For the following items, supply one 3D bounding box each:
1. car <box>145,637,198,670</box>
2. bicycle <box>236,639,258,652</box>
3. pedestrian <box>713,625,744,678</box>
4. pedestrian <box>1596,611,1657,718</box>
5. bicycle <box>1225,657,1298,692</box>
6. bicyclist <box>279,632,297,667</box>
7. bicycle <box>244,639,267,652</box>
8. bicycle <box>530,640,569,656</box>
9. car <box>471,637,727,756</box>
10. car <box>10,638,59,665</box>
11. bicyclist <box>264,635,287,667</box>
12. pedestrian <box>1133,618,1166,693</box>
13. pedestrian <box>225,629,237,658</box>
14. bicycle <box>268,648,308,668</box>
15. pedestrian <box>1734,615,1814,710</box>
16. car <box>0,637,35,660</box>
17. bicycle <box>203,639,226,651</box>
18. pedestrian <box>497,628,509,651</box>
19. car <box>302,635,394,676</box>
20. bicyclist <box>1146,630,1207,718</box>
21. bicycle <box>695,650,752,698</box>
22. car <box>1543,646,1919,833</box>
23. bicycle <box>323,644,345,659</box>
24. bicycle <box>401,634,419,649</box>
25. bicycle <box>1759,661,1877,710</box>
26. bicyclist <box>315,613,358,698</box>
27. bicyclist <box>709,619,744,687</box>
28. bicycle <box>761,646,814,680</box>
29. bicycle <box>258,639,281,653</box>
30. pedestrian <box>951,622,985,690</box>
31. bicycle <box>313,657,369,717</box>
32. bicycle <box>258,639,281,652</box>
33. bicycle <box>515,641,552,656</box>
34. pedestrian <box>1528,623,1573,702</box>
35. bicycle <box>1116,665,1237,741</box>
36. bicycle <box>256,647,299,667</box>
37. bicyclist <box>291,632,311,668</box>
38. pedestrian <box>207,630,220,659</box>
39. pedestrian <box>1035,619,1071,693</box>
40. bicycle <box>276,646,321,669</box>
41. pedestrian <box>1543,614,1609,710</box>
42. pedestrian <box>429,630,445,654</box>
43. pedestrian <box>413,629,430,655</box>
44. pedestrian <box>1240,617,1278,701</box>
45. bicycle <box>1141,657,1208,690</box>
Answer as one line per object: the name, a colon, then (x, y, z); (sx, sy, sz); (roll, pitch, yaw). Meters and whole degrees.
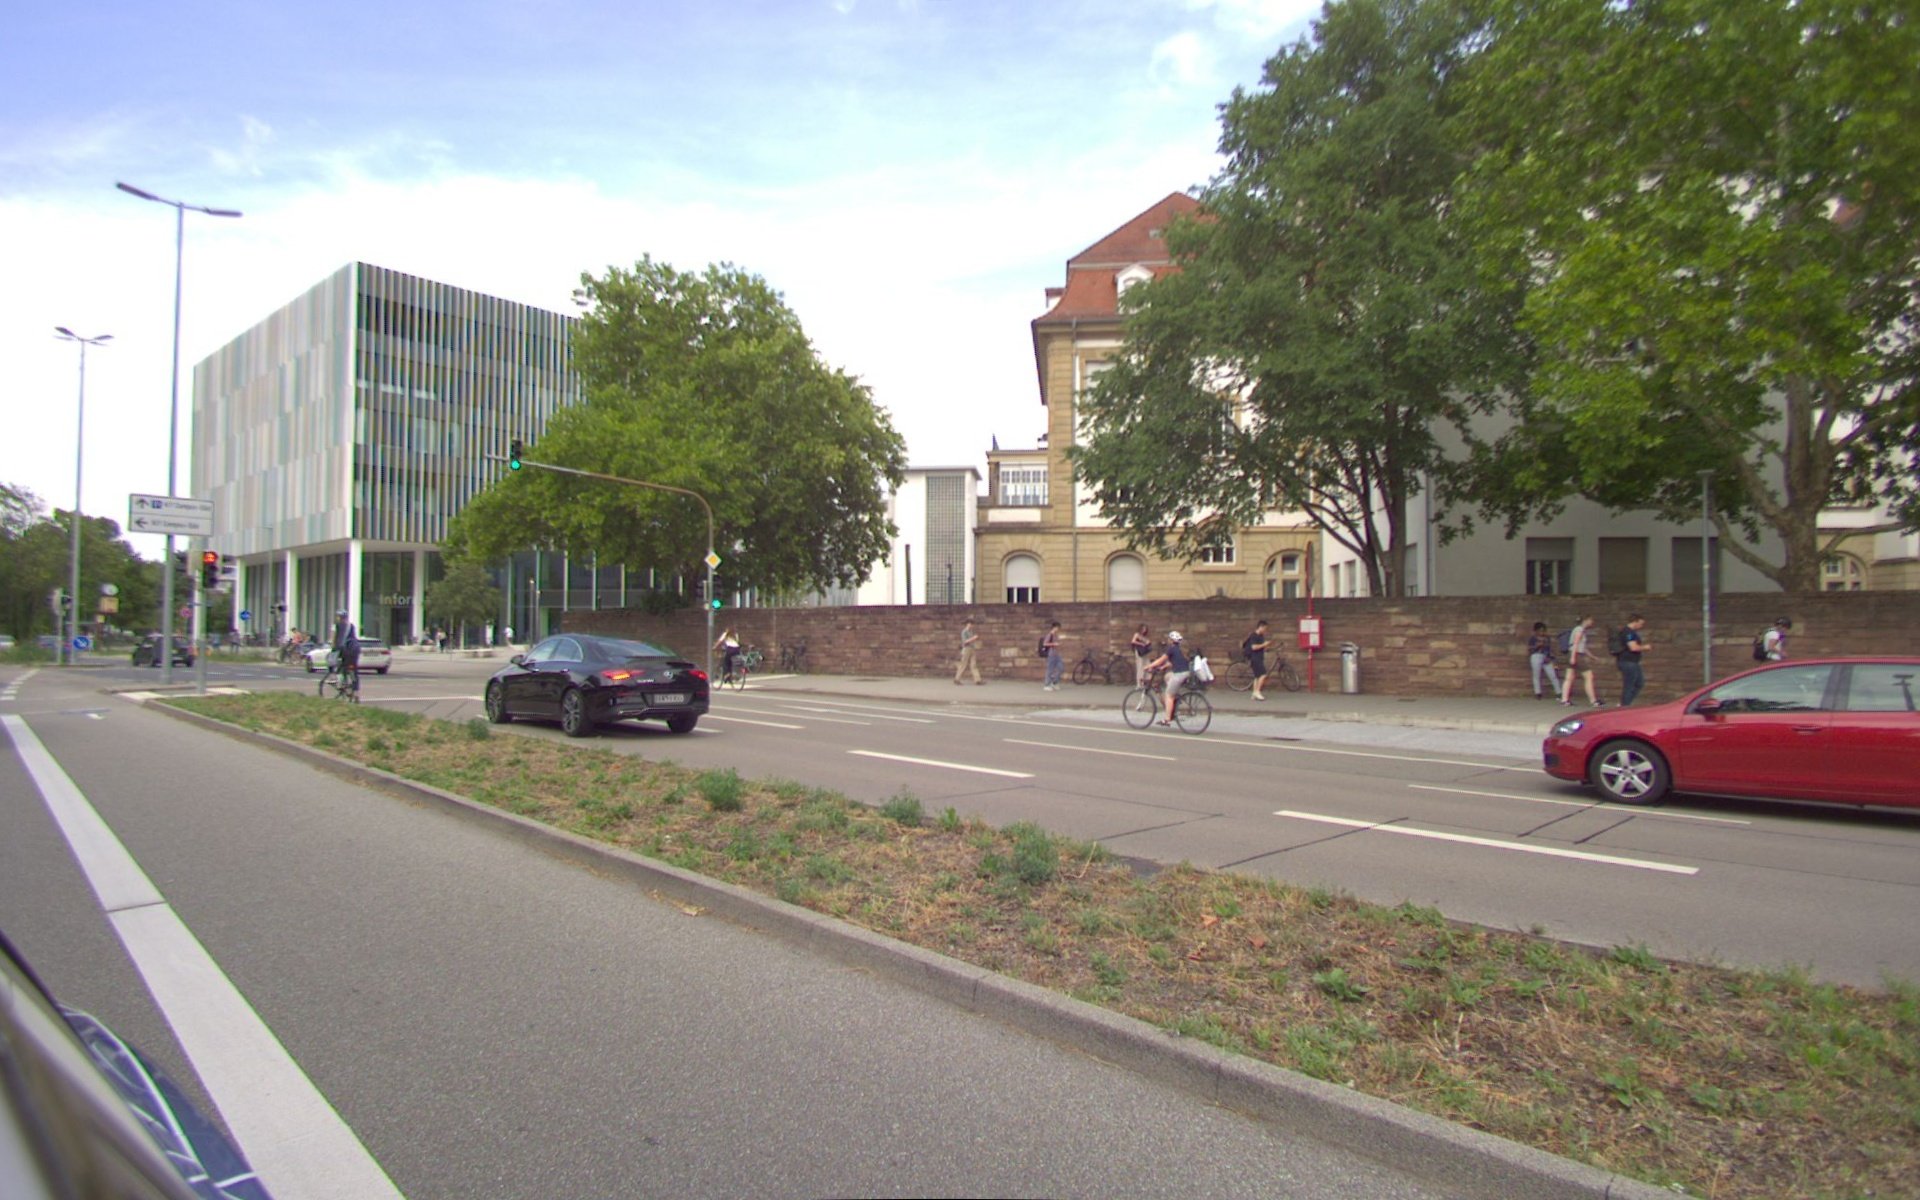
car: (-36.994, 2.502, 47.462); (1.553, 1.500, 3.639); (3, -4, -44)
bicycle: (-62.651, 4.011, 88.928); (0.389, 1.031, 1.563); (-2, -1, 36)
pedestrian: (-7.976, 1.752, 34.845); (0.775, 1.796, 0.745); (1, -1, 10)
pedestrian: (11.632, 1.127, 17.695); (0.716, 1.796, 0.756); (0, -5, 20)
bicycle: (7.314, 1.818, 24.606); (1.617, 0.803, 0.437); (-3, -1, 35)
bicyclist: (-35.042, 2.572, 52.780); (0.559, 1.820, 0.596); (-1, -1, 27)
bicycle: (-60.758, 3.944, 87.325); (0.389, 1.031, 1.563); (-2, -1, 36)
bicycle: (-28.681, 3.322, 70.735); (0.793, 1.098, 2.659); (-1, -3, 26)
car: (-5.443, 1.297, 14.953); (4.406, 1.500, 1.781); (-2, -3, 44)
car: (-56.825, 3.129, 62.123); (4.102, 1.523, 1.782); (0, -2, 42)
bicyclist: (-36.585, 2.721, 54.092); (0.720, 1.685, 0.722); (-1, -1, 27)
pedestrian: (4.688, 1.349, 25.000); (0.776, 1.796, 0.758); (1, -1, 13)
pedestrian: (-47.786, 2.855, 66.337); (0.624, 1.852, 0.505); (-3, -4, 40)
bicycle: (-35.026, 3.033, 52.769); (0.569, 0.996, 1.676); (-1, -3, 27)
pedestrian: (14.902, 1.122, 18.551); (0.916, 1.684, 0.757); (1, -1, 16)
car: (-63.769, 3.255, 68.143); (4.287, 1.500, 1.782); (-2, -3, 42)
bicycle: (-70.559, 4.254, 95.790); (0.434, 1.031, 1.683); (-2, -1, 36)
pedestrian: (-35.881, 3.065, 79.481); (0.627, 1.792, 0.597); (0, -2, -4)
car: (-24.182, 2.149, 39.932); (4.412, 1.500, 1.783); (-2, -3, 40)
bicyclist: (3.655, 1.228, 17.090); (0.811, 1.430, 0.574); (-2, -3, 42)
bicycle: (-6.421, 1.983, 27.438); (0.611, 1.226, 2.047); (2, -3, -41)
car: (7.999, 1.186, 9.309); (4.287, 1.500, 1.782); (-2, -3, 42)
bicycle: (-45.468, 3.736, 73.529); (0.389, 0.944, 1.607); (-1, 0, 8)
bicycle: (-39.534, 3.000, 72.793); (0.389, 1.037, 1.544); (-1, 0, 4)
bicycle: (16.126, 1.593, 19.059); (1.612, 0.834, 0.438); (-1, 0, 27)
bicyclist: (-11.941, 1.053, 19.376); (0.565, 1.586, 0.700); (2, -3, -42)
bicyclist: (-6.292, 1.413, 27.291); (0.610, 1.796, 0.812); (2, -3, -41)
bicycle: (-5.791, 2.098, 33.875); (1.978, 1.066, 0.543); (-2, 0, 38)
bicycle: (-57.290, 3.813, 83.995); (0.389, 1.031, 1.563); (-2, -1, 36)
pedestrian: (0.226, 1.514, 27.609); (0.775, 1.796, 0.744); (1, -1, 12)
bicycle: (-11.915, 1.647, 19.455); (0.566, 1.063, 1.928); (2, -3, -42)
bicycle: (-58.712, 3.877, 86.002); (0.389, 1.031, 1.563); (-2, -1, 36)
bicycle: (-30.447, 3.444, 72.293); (0.669, 1.007, 2.659); (-1, -3, 26)
pedestrian: (12.264, 1.286, 21.034); (0.730, 1.604, 0.584); (0, -1, 22)
bicycle: (3.624, 1.705, 17.084); (1.963, 1.179, 0.575); (-2, -3, 41)
bicycle: (-36.523, 3.048, 54.198); (0.725, 0.996, 1.806); (-1, -1, 27)
bicyclist: (-33.806, 2.546, 51.916); (0.559, 1.820, 0.596); (-1, -3, 26)
pedestrian: (-48.256, 2.896, 65.419); (0.772, 1.852, 0.505); (-3, -4, 41)
pedestrian: (2.323, 1.373, 25.282); (0.776, 1.796, 0.758); (1, -1, 14)
bicycle: (-33.846, 2.933, 51.839); (0.604, 1.179, 1.879); (-1, -2, 26)
pedestrian: (11.885, 1.183, 19.548); (0.906, 1.796, 0.757); (1, -1, 16)
pedestrian: (-35.332, 2.819, 68.360); (0.671, 1.612, 0.728); (-1, -2, 10)
pedestrian: (-36.374, 2.818, 68.341); (0.670, 1.753, 0.728); (0, -2, 7)
pedestrian: (6.546, 1.275, 22.185); (0.777, 1.796, 0.757); (1, -1, 16)
bicycle: (5.474, 1.872, 25.918); (1.617, 0.803, 0.437); (-3, -1, 35)
